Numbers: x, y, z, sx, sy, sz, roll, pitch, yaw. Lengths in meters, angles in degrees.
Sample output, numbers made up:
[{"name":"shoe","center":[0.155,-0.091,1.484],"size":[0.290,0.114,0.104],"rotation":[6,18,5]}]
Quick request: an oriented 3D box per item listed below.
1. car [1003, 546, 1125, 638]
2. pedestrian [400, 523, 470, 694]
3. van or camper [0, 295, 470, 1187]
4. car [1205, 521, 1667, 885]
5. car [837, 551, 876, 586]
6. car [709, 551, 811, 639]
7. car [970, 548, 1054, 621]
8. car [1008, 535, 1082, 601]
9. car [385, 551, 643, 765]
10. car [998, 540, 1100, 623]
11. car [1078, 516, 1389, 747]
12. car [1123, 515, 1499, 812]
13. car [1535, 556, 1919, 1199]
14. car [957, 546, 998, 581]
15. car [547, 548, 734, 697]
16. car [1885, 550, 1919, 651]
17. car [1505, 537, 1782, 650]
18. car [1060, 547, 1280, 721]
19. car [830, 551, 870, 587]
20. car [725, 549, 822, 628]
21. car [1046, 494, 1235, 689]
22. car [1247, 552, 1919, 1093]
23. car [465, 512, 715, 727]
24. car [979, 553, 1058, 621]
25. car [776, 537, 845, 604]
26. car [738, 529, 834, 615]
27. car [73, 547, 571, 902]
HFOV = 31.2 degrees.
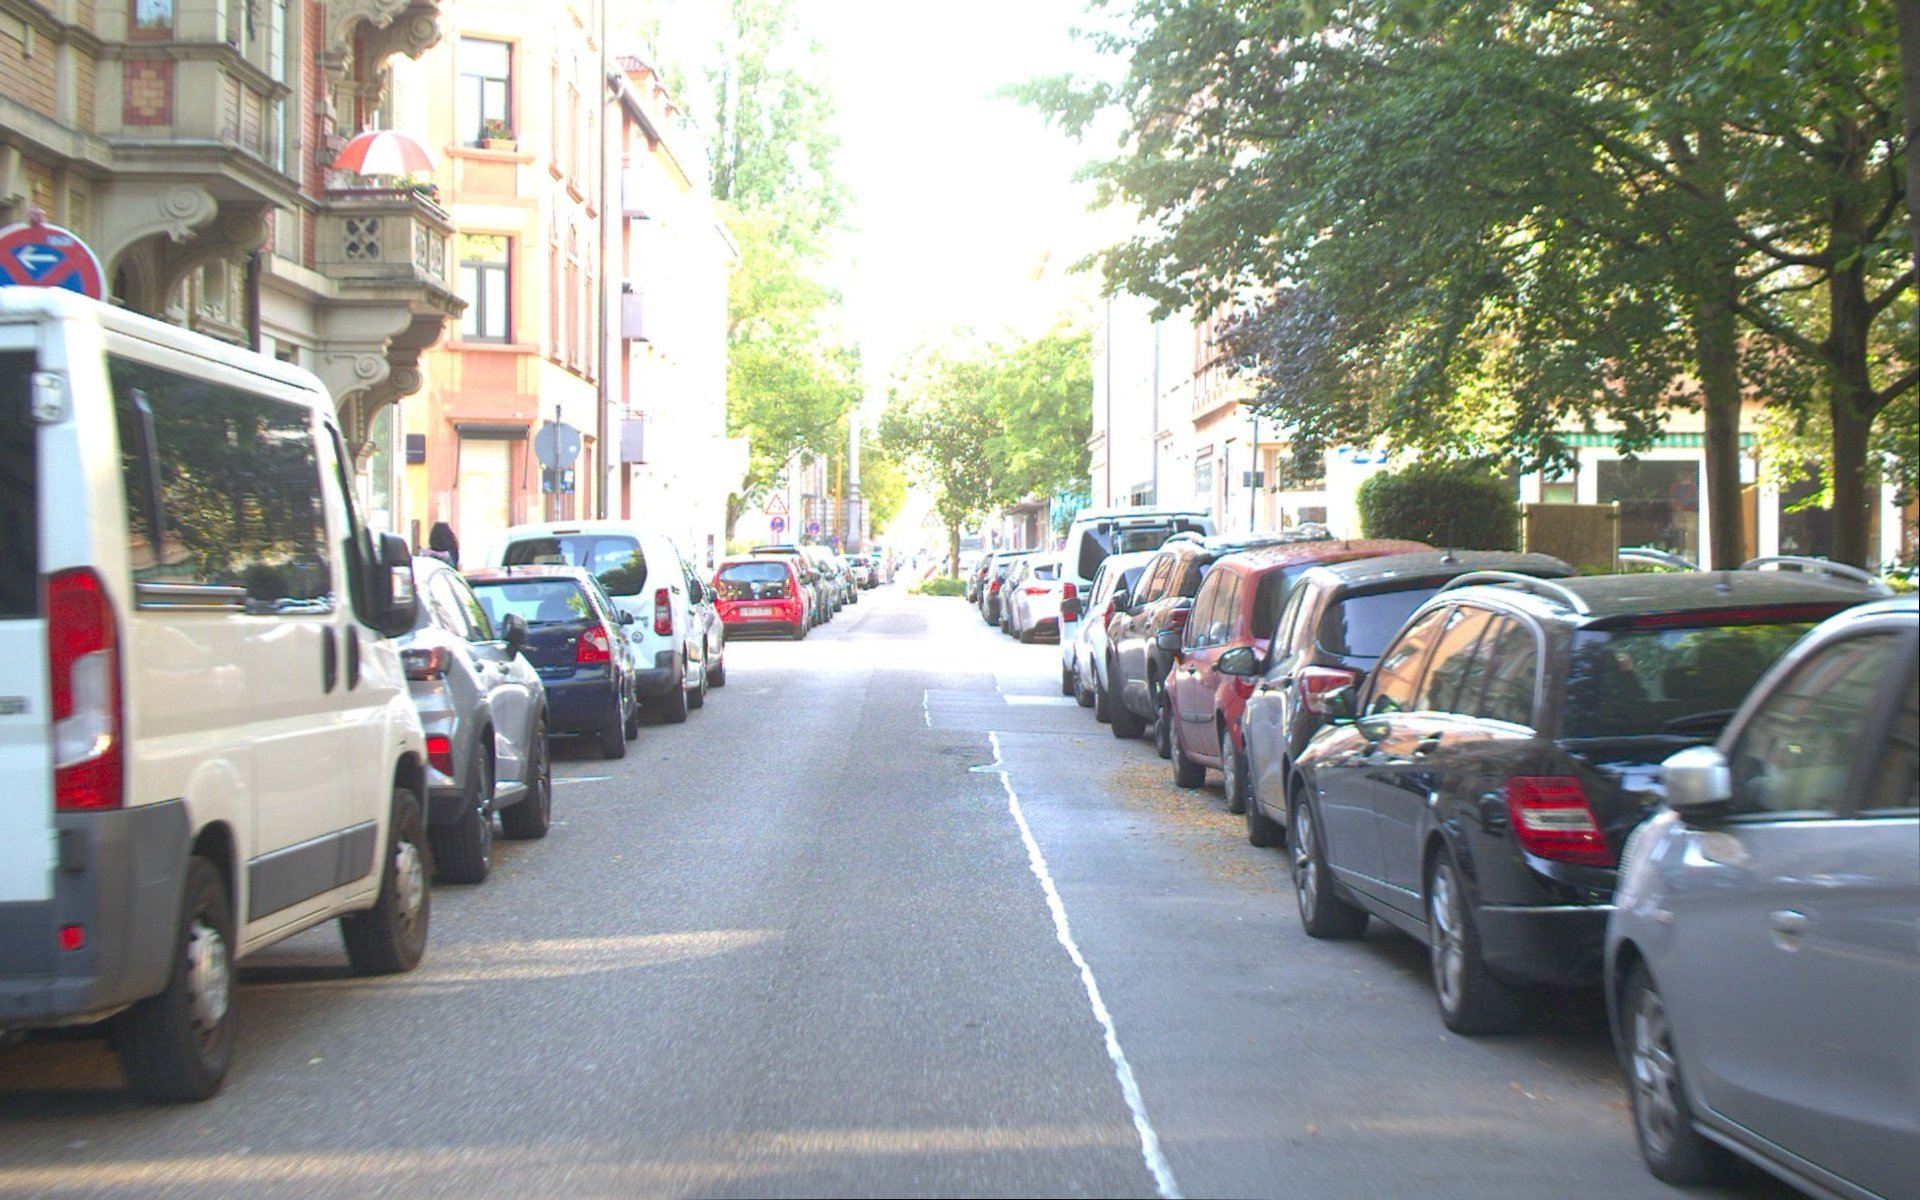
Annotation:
[{"name":"car","center":[1.789,-0.171,60.448],"size":[1.743,1.501,4.358],"rotation":[-2,1,-3]},{"name":"pedestrian","center":[-5.107,0.088,33.485],"size":[0.548,1.639,0.717],"rotation":[1,-1,-1]},{"name":"van or camper","center":[-3.071,0.321,10.862],"size":[2.177,2.140,5.154],"rotation":[-2,1,1]},{"name":"car","center":[2.224,0.441,16.988],"size":[1.619,1.481,3.776],"rotation":[-4,0,-1]},{"name":"car","center":[-4.658,-1.418,154.922],"size":[1.675,1.482,4.095],"rotation":[-2,1,-1]},{"name":"car","center":[-3.518,-0.110,61.011],"size":[1.628,1.476,3.601],"rotation":[-2,1,-1]},{"name":"car","center":[1.126,-0.365,75.688],"size":[1.675,1.501,3.938],"rotation":[-2,1,-1]},{"name":"car","center":[2.259,-0.855,92.321],"size":[1.676,1.621,4.251],"rotation":[-4,1,-1]},{"name":"car","center":[-3.419,0.392,26.975],"size":[1.692,1.509,3.974],"rotation":[-2,1,-3]},{"name":"car","center":[1.692,-0.376,66.512],"size":[1.744,1.501,4.021],"rotation":[-2,1,-1]},{"name":"car","center":[2.111,0.233,27.726],"size":[1.739,1.597,4.265],"rotation":[-4,0,-5]},{"name":"car","center":[2.156,0.371,22.103],"size":[1.618,1.619,3.864],"rotation":[-4,0,-5]},{"name":"car","center":[2.419,0.654,7.105],"size":[1.599,1.500,3.628],"rotation":[-4,0,-3]},{"name":"car","center":[0.763,-1.619,150.762],"size":[1.675,1.482,3.638],"rotation":[-2,1,-1]},{"name":"car","center":[-3.405,0.196,37.242],"size":[1.692,1.476,3.973],"rotation":[-2,1,-1]},{"name":"car","center":[15.919,0.052,51.330],"size":[3.855,1.468,1.633],"rotation":[1,-1,7]},{"name":"car","center":[10.201,-0.090,51.534],"size":[3.920,1.602,1.761],"rotation":[1,-1,7]},{"name":"car","center":[1.945,0.279,32.851],"size":[1.719,1.565,3.829],"rotation":[0,1,-2]},{"name":"car","center":[-4.782,-1.361,149.522],"size":[1.675,1.482,4.095],"rotation":[-2,1,-1]},{"name":"car","center":[-3.807,-0.258,70.628],"size":[1.656,1.516,3.944],"rotation":[-2,1,1]},{"name":"car","center":[1.948,-0.129,38.298],"size":[1.914,1.991,4.792],"rotation":[-2,1,2]},{"name":"car","center":[2.205,0.622,12.185],"size":[1.675,1.436,4.696],"rotation":[-4,0,-3]},{"name":"car","center":[-3.342,0.130,31.853],"size":[1.831,1.805,4.572],"rotation":[-2,1,-1]},{"name":"car","center":[1.352,-0.323,80.809],"size":[1.675,1.501,3.938],"rotation":[-2,1,-1]},{"name":"car","center":[-4.116,-0.842,95.284],"size":[1.765,1.779,4.039],"rotation":[-2,1,-1]},{"name":"car","center":[-3.823,-0.635,76.121],"size":[1.743,1.805,4.672],"rotation":[-2,1,1]},{"name":"car","center":[-3.047,0.517,17.242],"size":[1.766,1.509,4.193],"rotation":[-2,1,-1]}]
